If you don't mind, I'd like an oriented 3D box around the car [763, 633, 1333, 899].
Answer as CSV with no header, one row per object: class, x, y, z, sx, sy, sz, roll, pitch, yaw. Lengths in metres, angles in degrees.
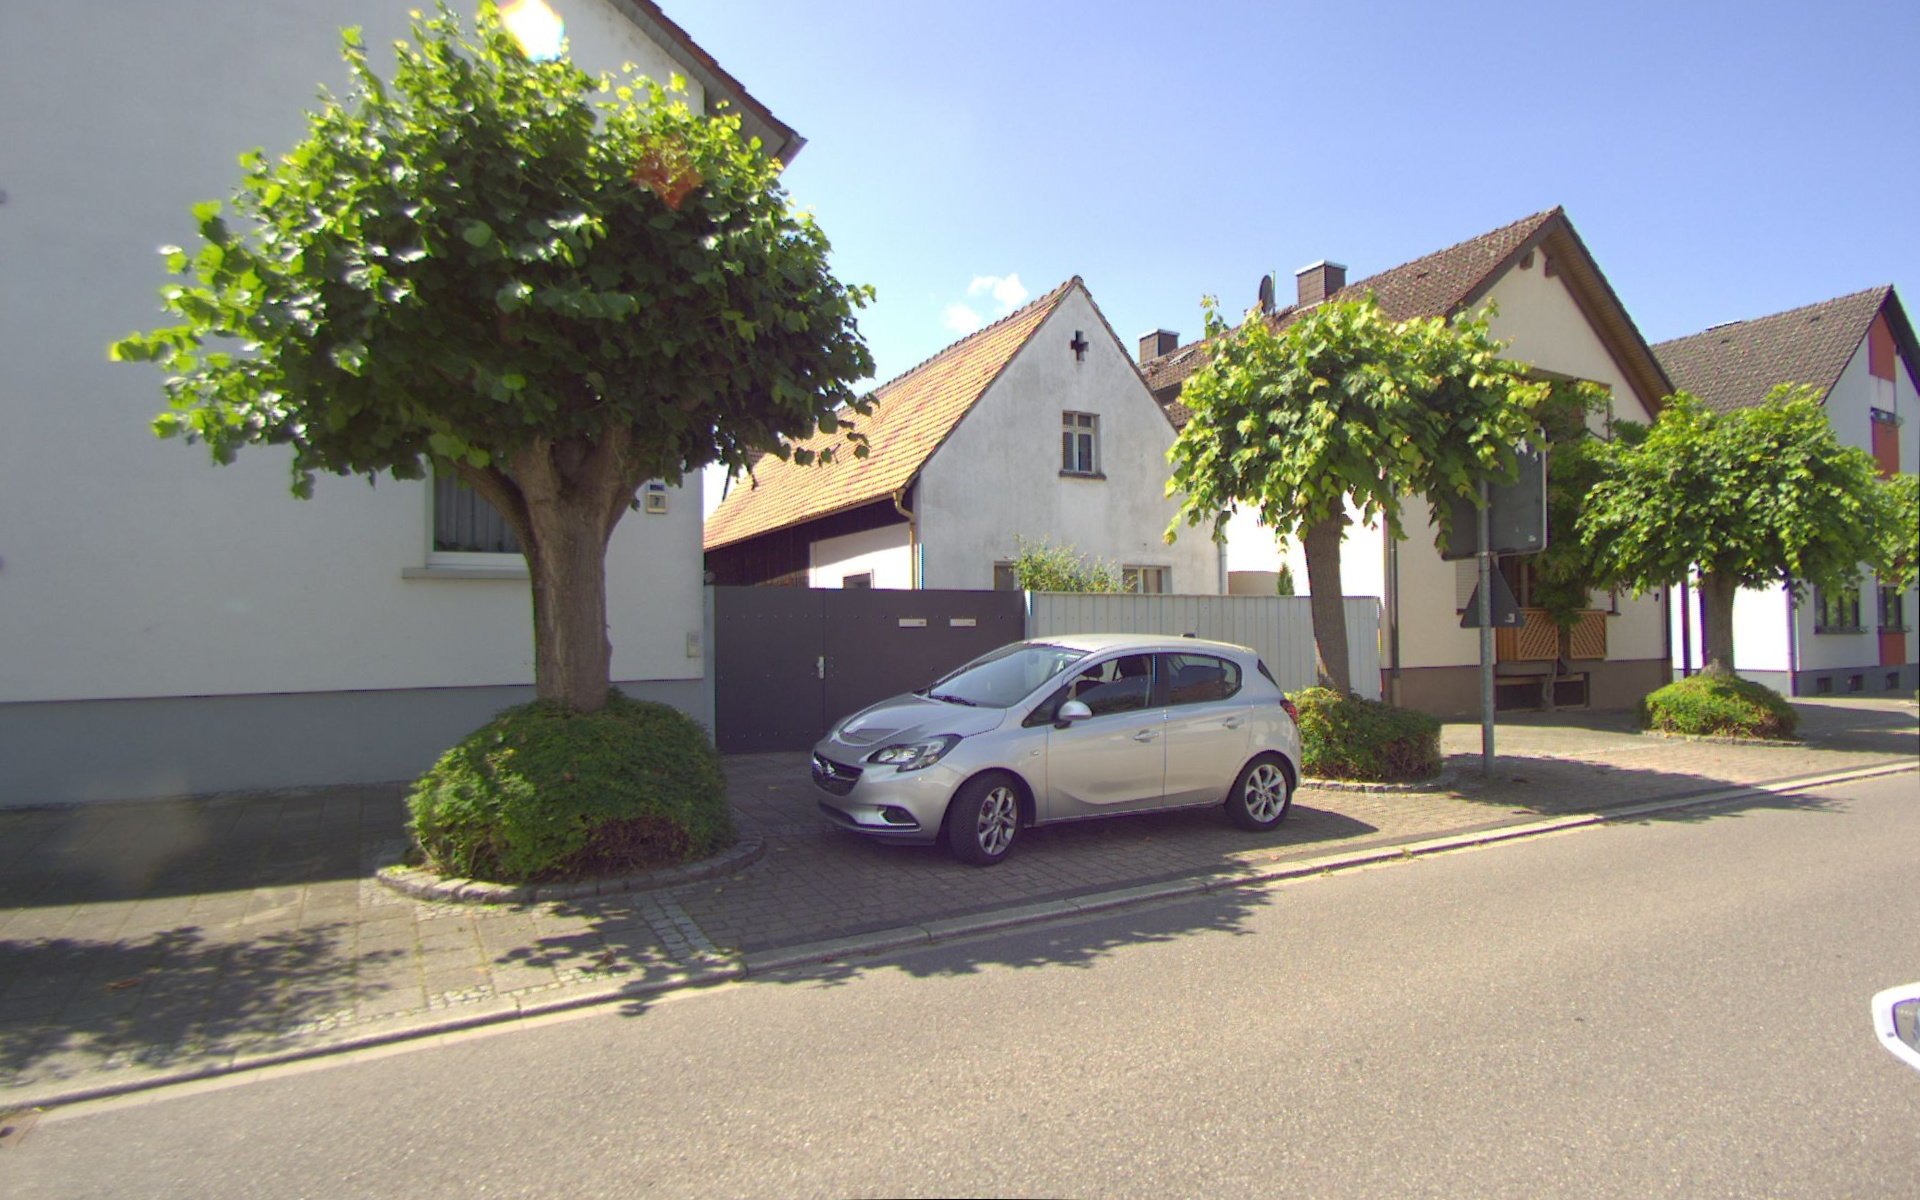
car,0.751,1.051,7.746,4.084,1.502,1.816,1,0,-30
